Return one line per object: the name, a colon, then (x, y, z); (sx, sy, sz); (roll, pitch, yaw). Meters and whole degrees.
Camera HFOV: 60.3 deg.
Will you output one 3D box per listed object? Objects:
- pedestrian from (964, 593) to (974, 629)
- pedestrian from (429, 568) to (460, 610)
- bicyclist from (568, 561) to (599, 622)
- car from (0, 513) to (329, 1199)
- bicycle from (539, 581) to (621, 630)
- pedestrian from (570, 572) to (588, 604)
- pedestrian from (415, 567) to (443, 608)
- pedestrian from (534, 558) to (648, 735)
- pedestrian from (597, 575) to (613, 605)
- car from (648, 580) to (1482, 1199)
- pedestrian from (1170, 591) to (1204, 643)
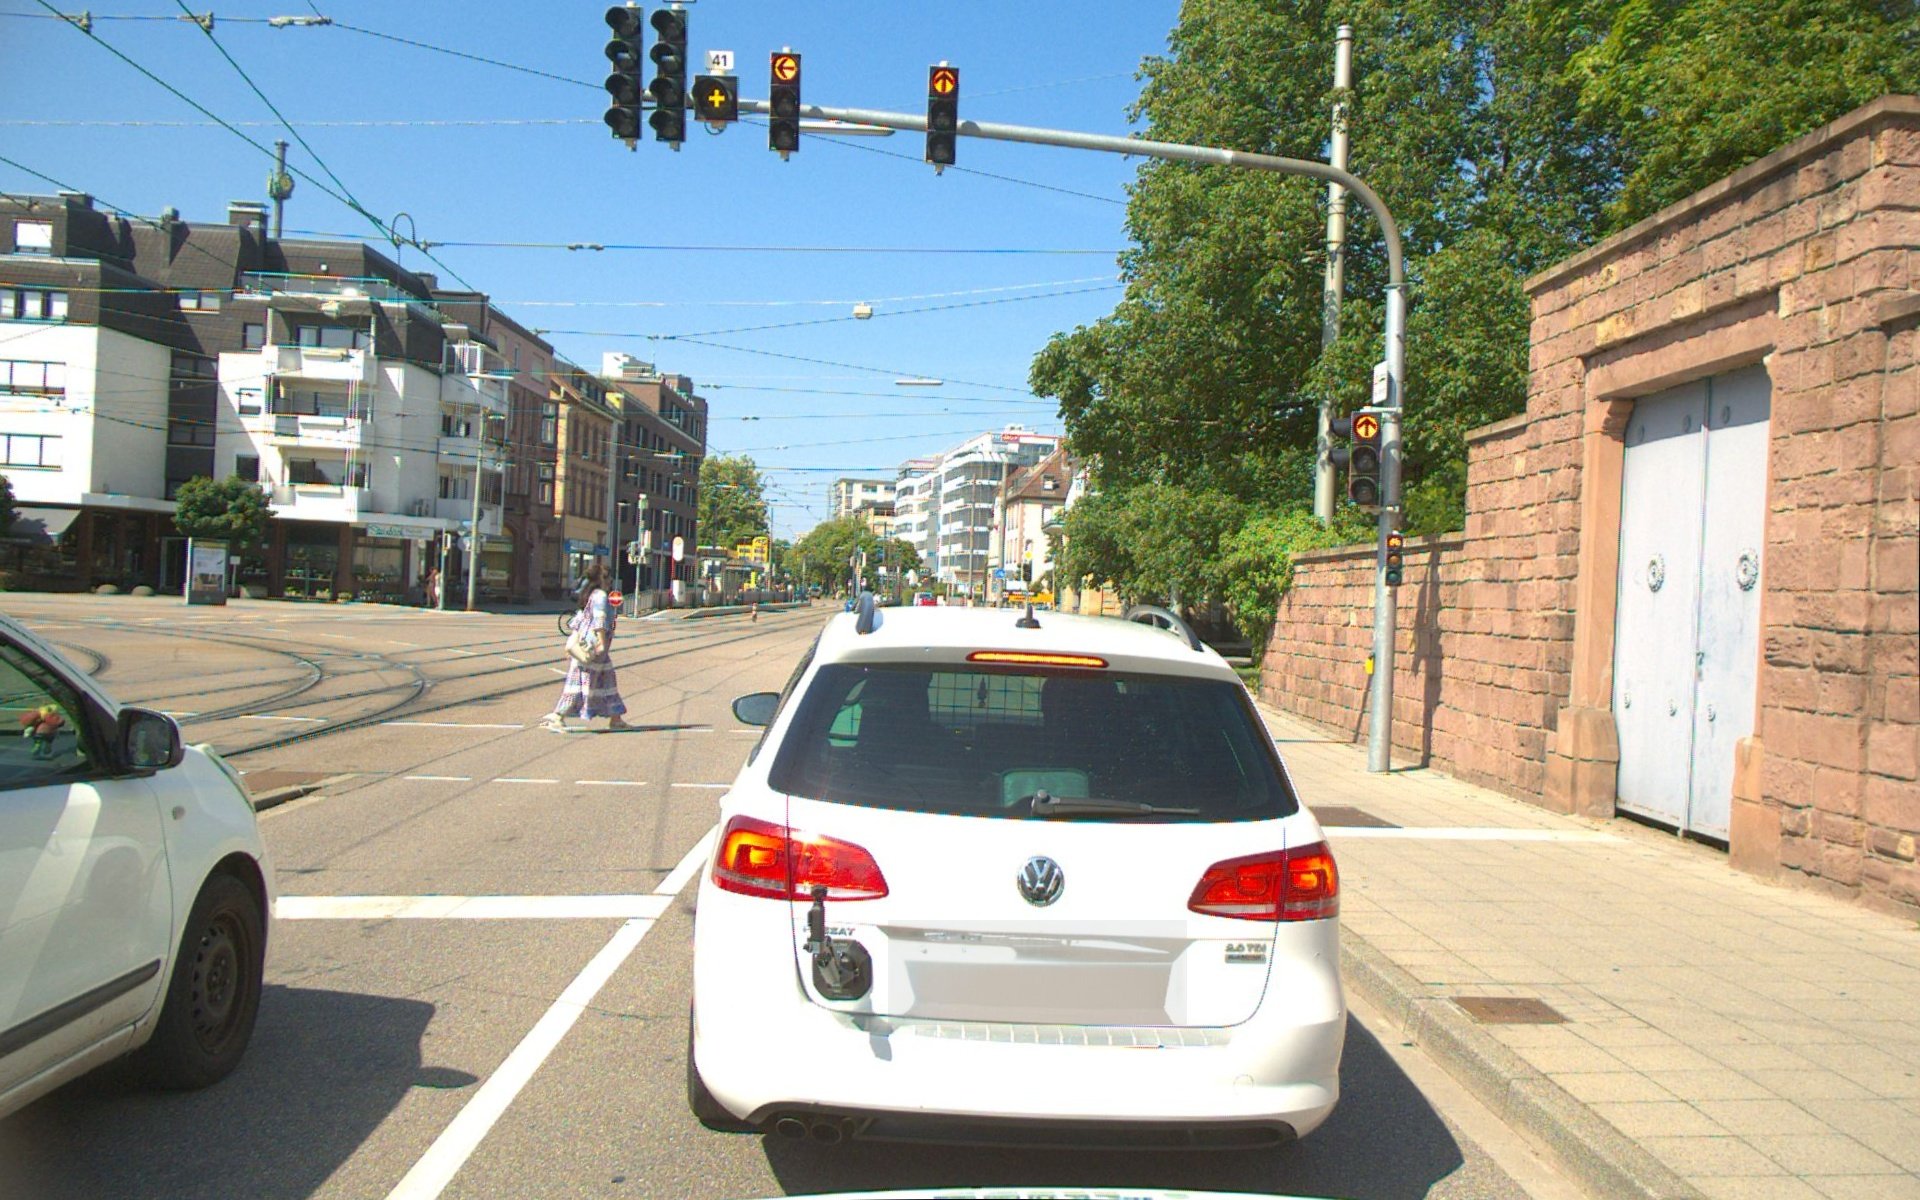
pedestrian: (0.581, 0.731, 108.326); (0.675, 2.366, 1.232); (0, -1, 0)
pedestrian: (-22.202, -0.464, 71.222); (0.848, 1.773, 0.969); (0, -1, 40)
bicyclist: (-10.336, -0.222, 45.413); (0.633, 1.641, 0.554); (1, -1, -43)
car: (-2.834, 0.604, 3.471); (1.608, 1.593, 3.803); (1, 1, -1)
bicycle: (-10.396, 0.166, 45.347); (2.232, 1.320, 0.551); (1, -1, -44)
pedestrian: (-21.425, -0.658, 93.062); (0.845, 1.773, 0.973); (1, -1, -6)
pedestrian: (-23.056, -0.529, 71.778); (0.963, 1.773, 0.855); (1, -1, -33)
pedestrian: (-3.644, 0.451, 16.309); (0.958, 1.680, 0.950); (1, -1, -22)
pedestrian: (-21.274, -0.575, 99.143); (0.845, 1.773, 0.973); (1, -1, -6)
car: (0.196, 0.711, 5.581); (1.771, 1.473, 3.999); (2, 0, -1)
pedestrian: (7.819, 0.590, 56.962); (0.952, 1.773, 0.863); (0, -1, 26)
